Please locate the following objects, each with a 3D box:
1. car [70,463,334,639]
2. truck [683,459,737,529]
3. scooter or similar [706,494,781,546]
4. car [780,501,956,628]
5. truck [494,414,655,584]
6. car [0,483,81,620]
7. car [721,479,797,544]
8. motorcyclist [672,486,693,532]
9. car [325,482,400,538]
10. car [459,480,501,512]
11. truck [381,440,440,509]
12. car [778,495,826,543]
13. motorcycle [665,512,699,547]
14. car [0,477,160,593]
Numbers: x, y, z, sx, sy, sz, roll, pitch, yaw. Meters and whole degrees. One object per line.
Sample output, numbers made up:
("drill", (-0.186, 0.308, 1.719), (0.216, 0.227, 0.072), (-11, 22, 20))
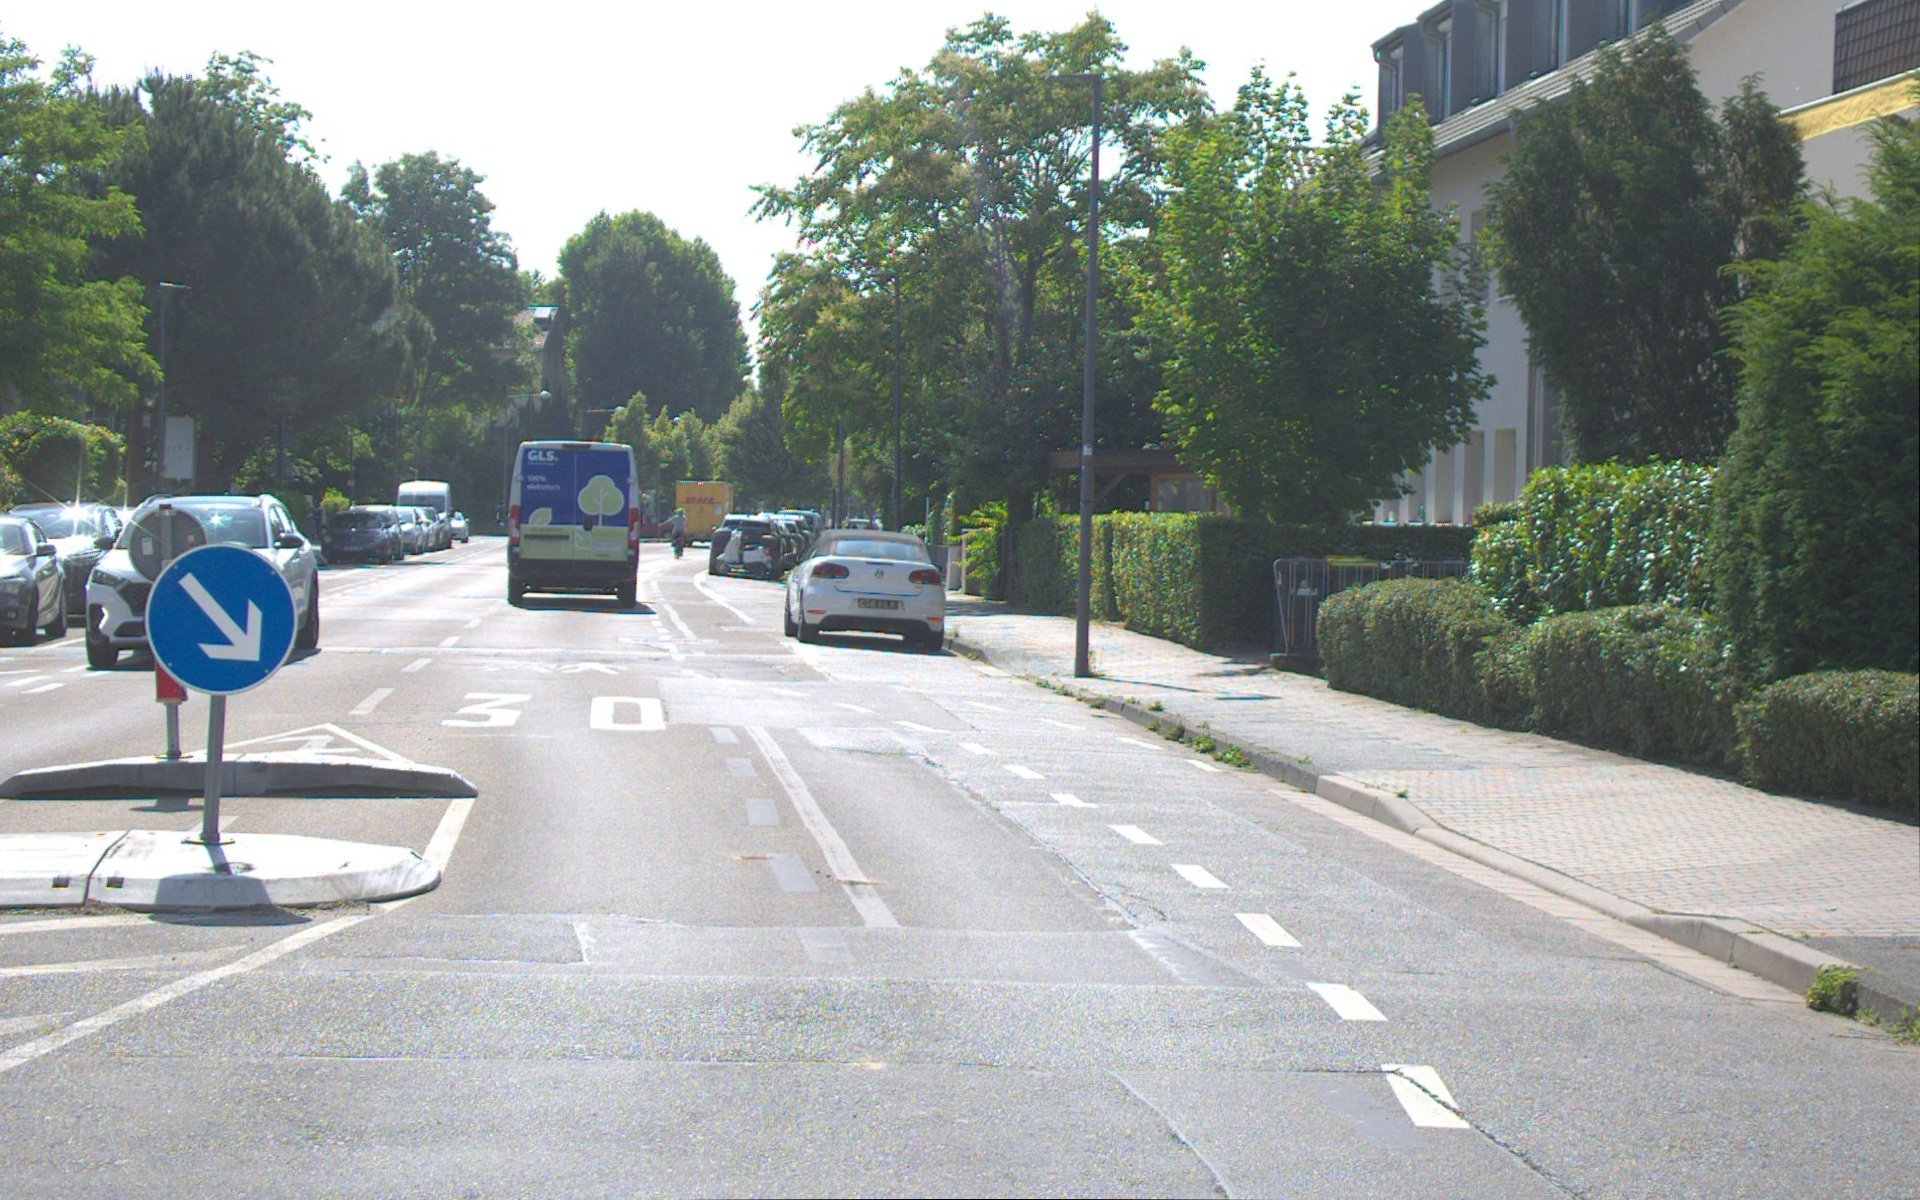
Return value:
("car", (-7.567, -0.526, 34.741), (1.914, 1.661, 4.507), (0, 2, -3))
("truck", (-10.827, -4.596, 149.339), (2.214, 2.936, 5.687), (1, 1, -4))
("scooter or similar", (-5.529, -2.041, 87.708), (1.796, 1.150, 0.718), (6, 2, 39))
("car", (-1.195, -0.477, 42.739), (1.740, 1.397, 4.075), (4, 1, -7))
("truck", (-6.266, -1.625, 55.446), (2.272, 2.562, 4.393), (1, 1, -10))
("car", (-10.968, -0.585, 38.454), (1.785, 1.435, 4.156), (0, 2, -9))
("car", (-5.308, -2.336, 90.431), (1.784, 1.632, 4.471), (1, 2, -6))
("motorcyclist", (-9.276, -3.053, 114.911), (0.672, 1.513, 0.652), (1, 1, -5))
("car", (-16.635, -2.514, 95.876), (1.780, 1.455, 4.087), (3, 2, -7))
("car", (-21.169, -4.613, 151.751), (1.754, 1.339, 3.655), (1, 2, -7))
("truck", (-20.918, -4.796, 131.006), (2.080, 2.528, 5.469), (1, 2, -8))
("car", (-5.723, -2.945, 124.472), (1.700, 1.671, 3.775), (1, 2, -3))
("motorcycle", (-9.332, -2.382, 115.217), (1.056, 1.118, 2.993), (1, 1, -5))
("car", (-11.664, -0.882, 44.827), (1.785, 1.435, 4.112), (0, 2, -4))
